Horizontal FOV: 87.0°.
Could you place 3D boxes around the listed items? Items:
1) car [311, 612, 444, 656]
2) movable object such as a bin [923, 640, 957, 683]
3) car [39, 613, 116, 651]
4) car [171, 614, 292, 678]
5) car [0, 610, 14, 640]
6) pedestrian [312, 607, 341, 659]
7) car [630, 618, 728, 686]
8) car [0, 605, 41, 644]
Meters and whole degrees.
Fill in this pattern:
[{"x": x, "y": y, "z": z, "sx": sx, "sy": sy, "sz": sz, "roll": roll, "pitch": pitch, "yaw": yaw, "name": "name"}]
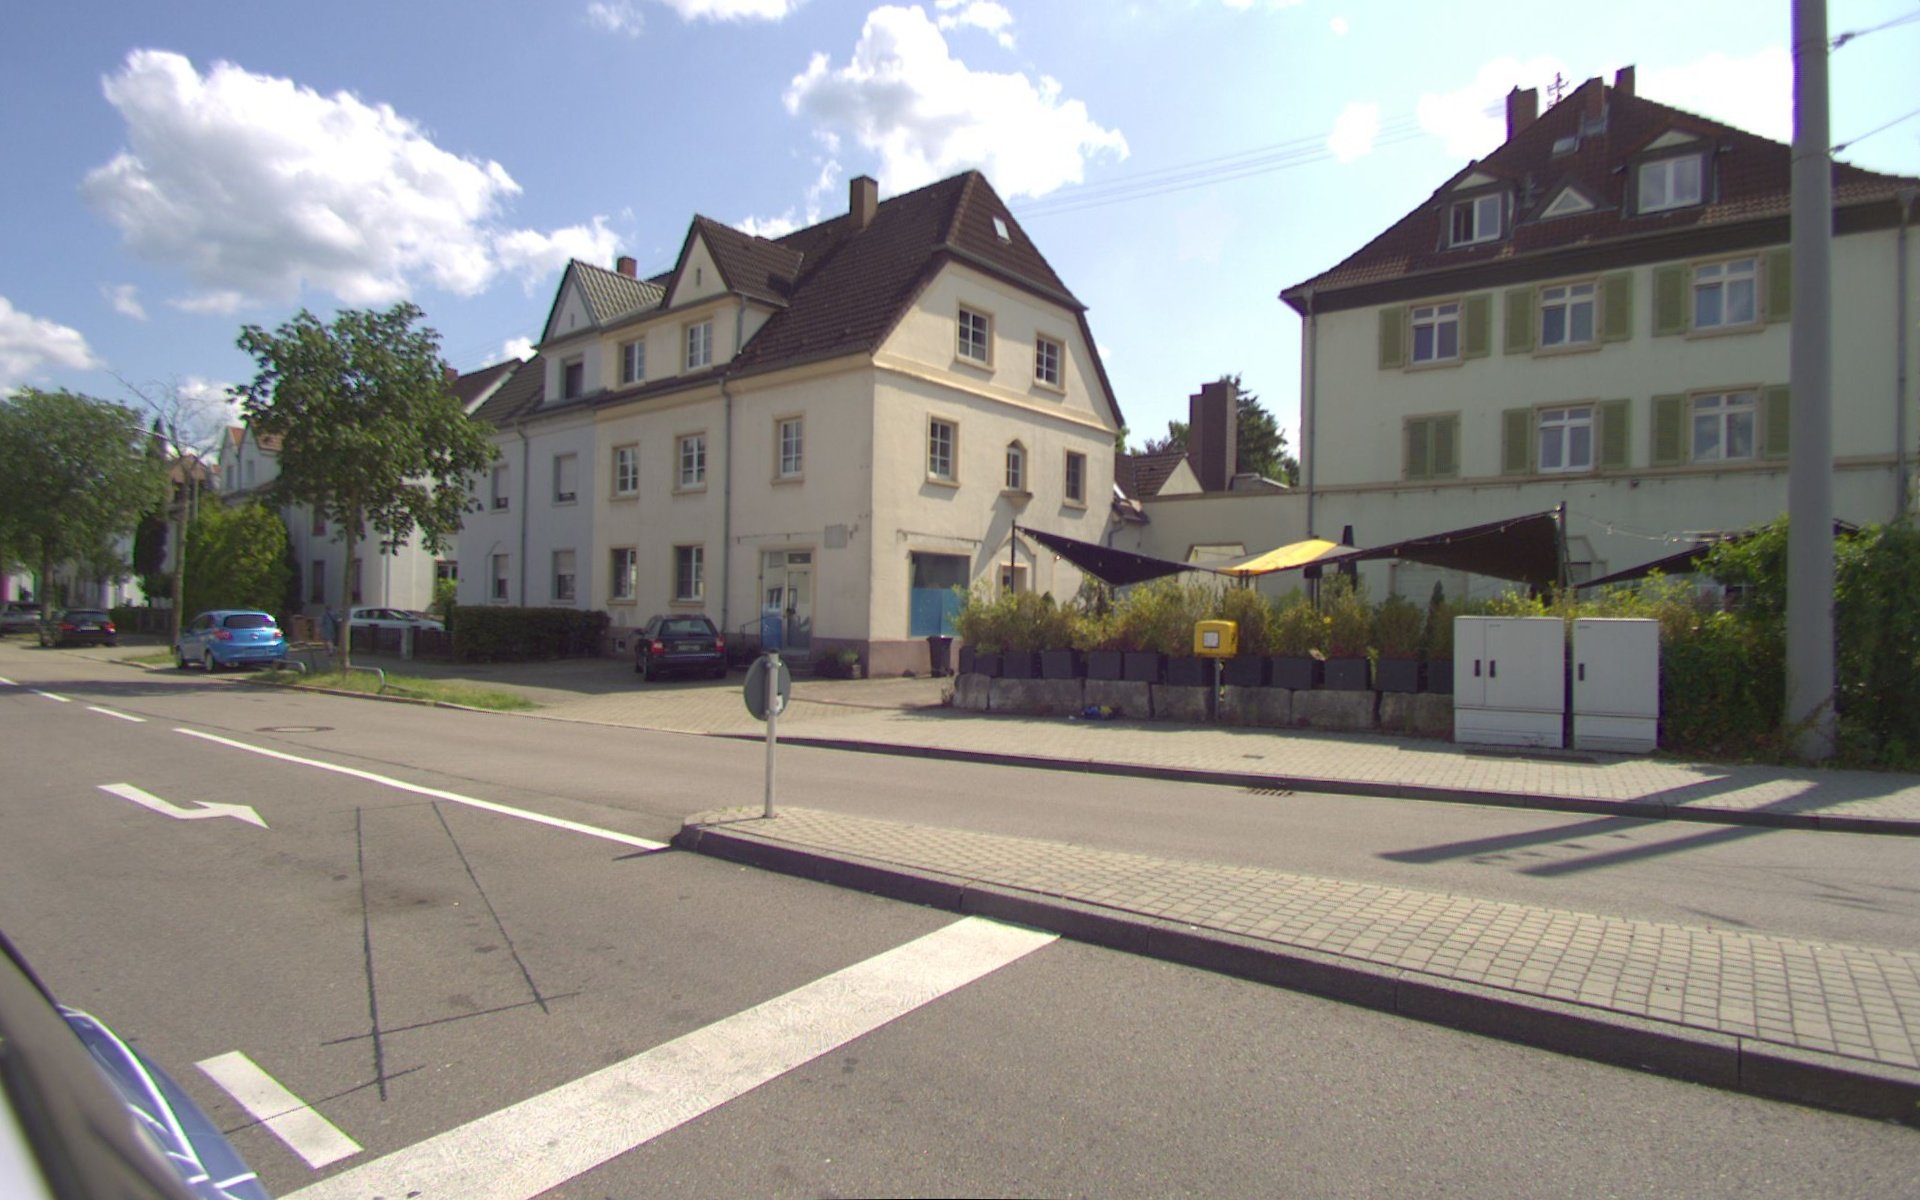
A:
[{"x": -20.800, "y": 1.204, "z": 36.221, "sx": 1.711, "sy": 1.465, "sz": 3.755, "roll": -1, "pitch": -2, "yaw": 42, "name": "car"}, {"x": -0.464, "y": 1.420, "z": 23.525, "sx": 0.509, "sy": 0.979, "sz": 0.608, "roll": -1, "pitch": -2, "yaw": 39, "name": "movable object such as a bin"}, {"x": -31.849, "y": 1.134, "z": 36.491, "sx": 3.918, "sy": 1.306, "sz": 1.686, "roll": -1, "pitch": -2, "yaw": 43, "name": "car"}, {"x": -18.140, "y": 1.101, "z": 25.172, "sx": 3.151, "sy": 1.473, "sz": 1.688, "roll": 0, "pitch": -2, "yaw": 39, "name": "car"}, {"x": -47.224, "y": 1.221, "z": 49.280, "sx": 1.601, "sy": 1.436, "sz": 3.003, "roll": 1, "pitch": -1, "yaw": -45, "name": "car"}, {"x": -19.244, "y": 1.007, "z": 30.753, "sx": 0.622, "sy": 1.547, "sz": 0.619, "roll": 2, "pitch": -2, "yaw": -41, "name": "pedestrian"}, {"x": -6.422, "y": 1.118, "z": 22.851, "sx": 1.731, "sy": 1.397, "sz": 4.115, "roll": 1, "pitch": -2, "yaw": -21, "name": "car"}, {"x": -42.575, "y": 1.093, "z": 45.484, "sx": 3.573, "sy": 1.667, "sz": 1.541, "roll": -1, "pitch": -2, "yaw": 43, "name": "car"}]
